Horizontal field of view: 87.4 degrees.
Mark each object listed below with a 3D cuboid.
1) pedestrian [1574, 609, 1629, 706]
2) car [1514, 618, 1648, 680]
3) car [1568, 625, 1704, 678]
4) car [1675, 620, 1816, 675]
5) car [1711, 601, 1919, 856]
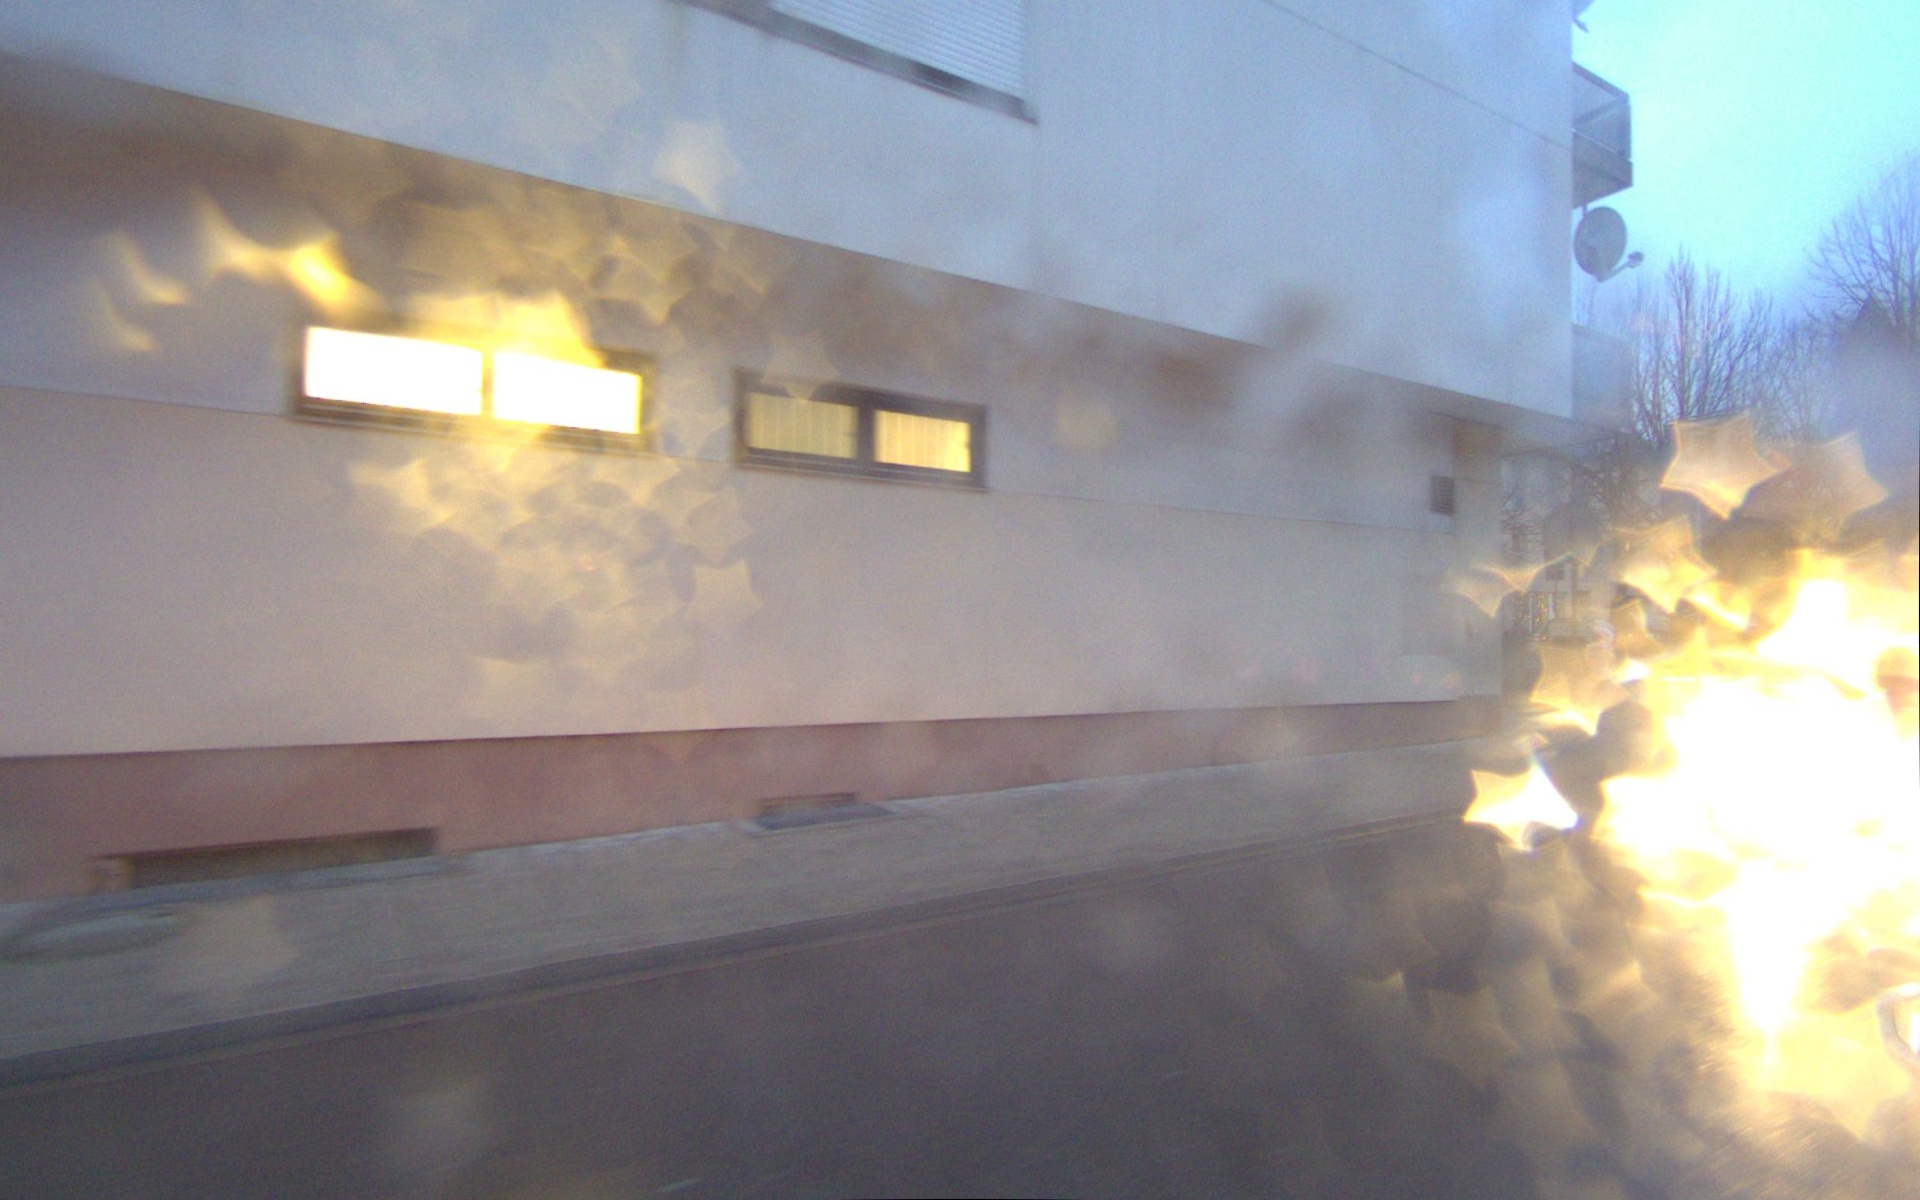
[{"bbox_3d":[10.088,0.889,15.821,0.638,1.478,0.650,0,0,24],"label":"pedestrian"},{"bbox_3d":[21.667,1.657,35.229,1.786,2.015,3.993,0,-1,-10],"label":"car"},{"bbox_3d":[24.267,1.795,36.235,1.786,1.753,3.993,0,-1,-10],"label":"car"},{"bbox_3d":[29.377,1.712,37.735,1.786,1.936,3.993,0,-1,-10],"label":"car"},{"bbox_3d":[7.130,0.804,7.280,3.368,1.556,1.629,1,-1,-32],"label":"car"}]
